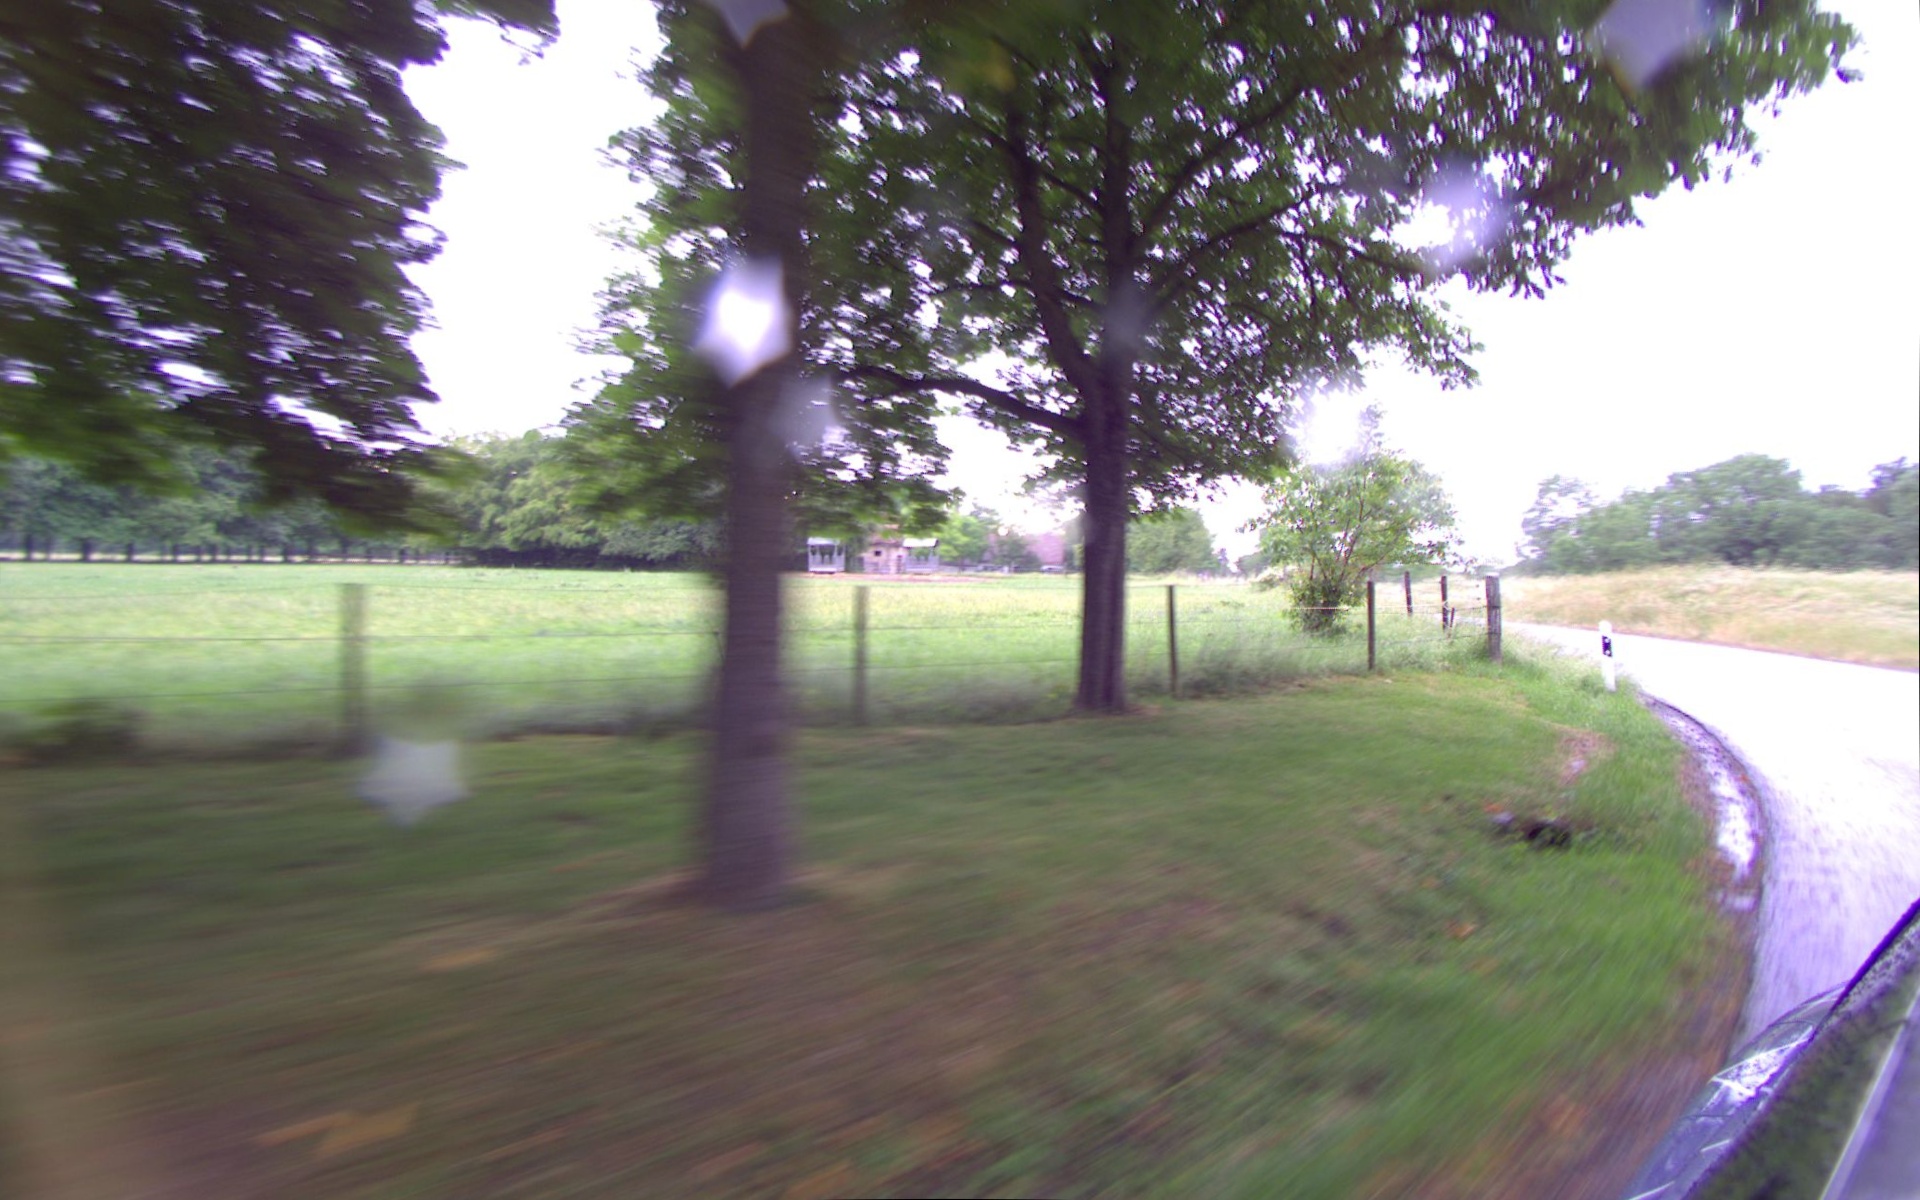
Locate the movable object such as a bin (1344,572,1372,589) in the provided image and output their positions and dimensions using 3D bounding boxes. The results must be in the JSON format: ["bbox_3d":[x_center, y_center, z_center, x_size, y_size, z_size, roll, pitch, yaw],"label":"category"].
[{"bbox_3d":[38.559,-1.938,98.130,1.655,1.590,3.533,1,2,7],"label":"movable object such as a bin"}]
